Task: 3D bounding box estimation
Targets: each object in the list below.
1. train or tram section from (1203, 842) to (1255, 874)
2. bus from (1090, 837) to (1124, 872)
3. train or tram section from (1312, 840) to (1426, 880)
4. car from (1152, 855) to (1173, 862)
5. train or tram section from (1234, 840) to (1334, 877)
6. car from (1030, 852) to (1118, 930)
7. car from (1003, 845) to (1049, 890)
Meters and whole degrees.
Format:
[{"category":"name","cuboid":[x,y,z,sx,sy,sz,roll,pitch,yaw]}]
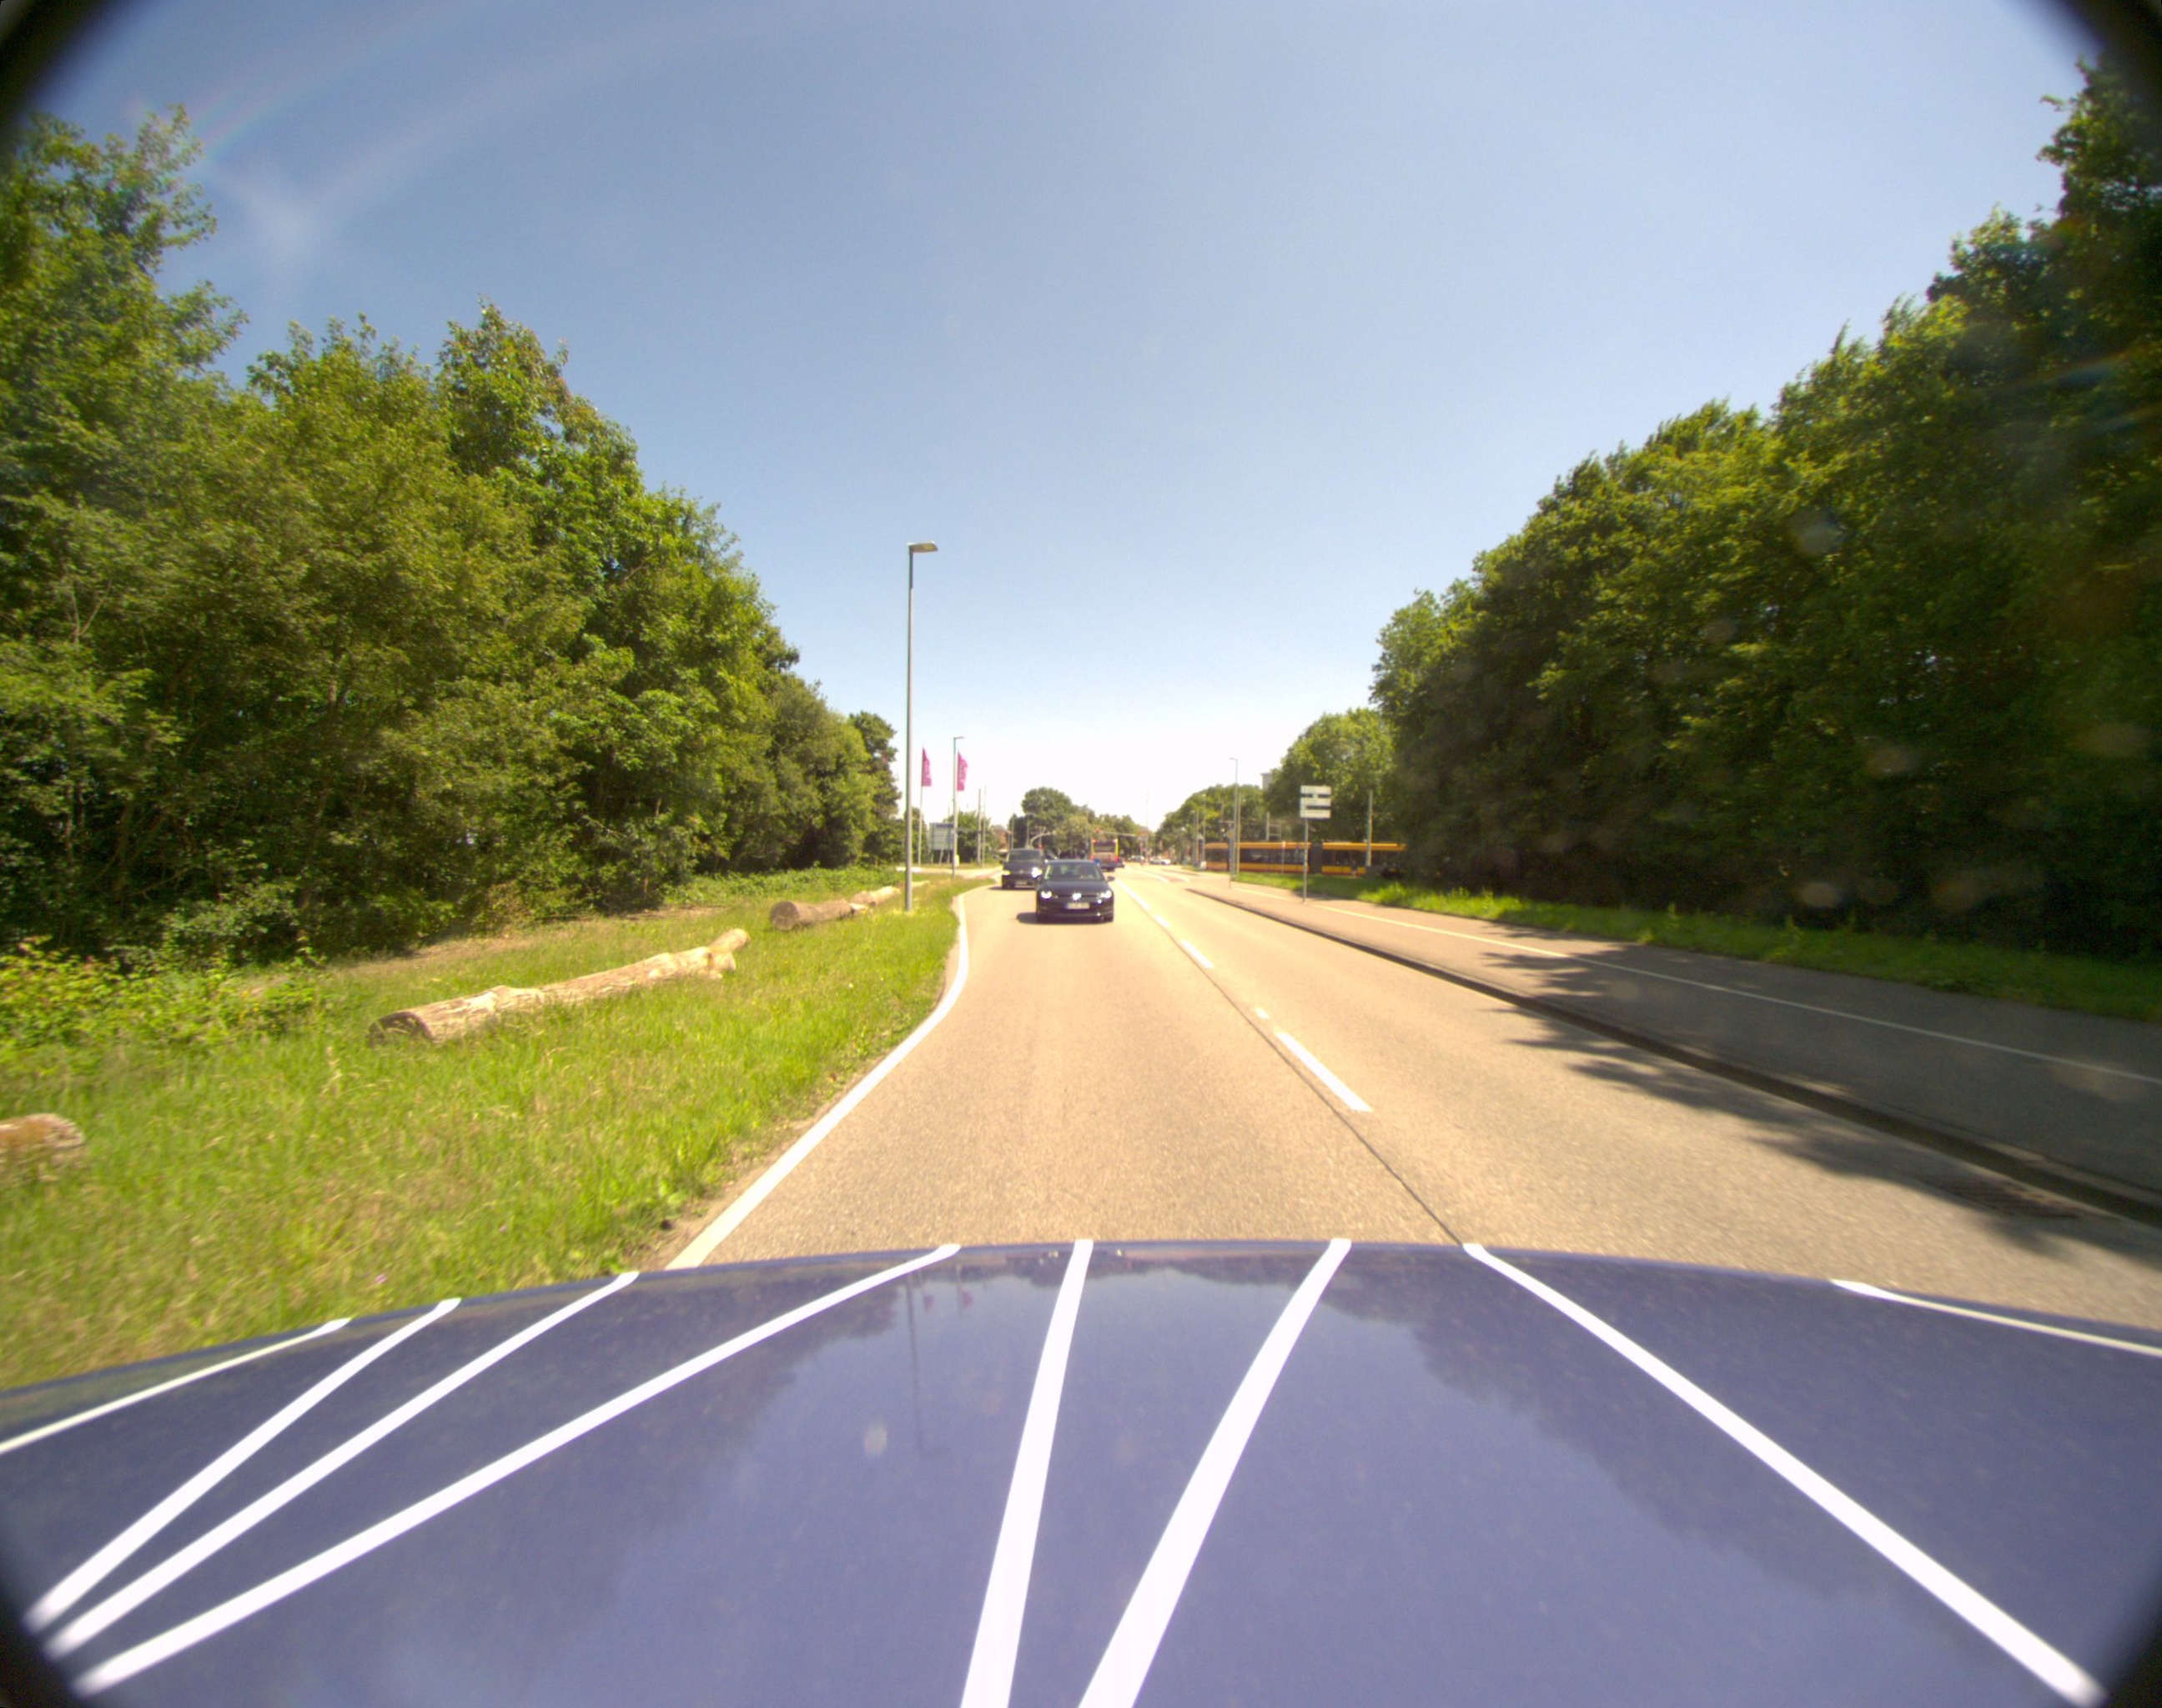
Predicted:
[{"category":"train or tram section","cuboid":[16.589,0.422,85.999,2.579,3.445,10.847,1,0,-7]},{"category":"bus","cuboid":[2.512,0.024,76.204,2.931,3.248,8.328,1,0,-1]},{"category":"train or tram section","cuboid":[26.306,0.496,69.645,9.325,3.446,2.789,1,0,33]},{"category":"car","cuboid":[15.763,0.898,147.273,3.800,1.383,1.635,1,0,25]},{"category":"train or tram section","cuboid":[20.106,0.386,76.211,2.656,3.446,10.826,0,0,-32]},{"category":"car","cuboid":[-0.237,0.809,18.750,1.887,1.667,4.661,1,0,-2]},{"category":"car","cuboid":[-2.539,0.612,36.136,2.002,1.965,4.449,1,0,-2]}]
